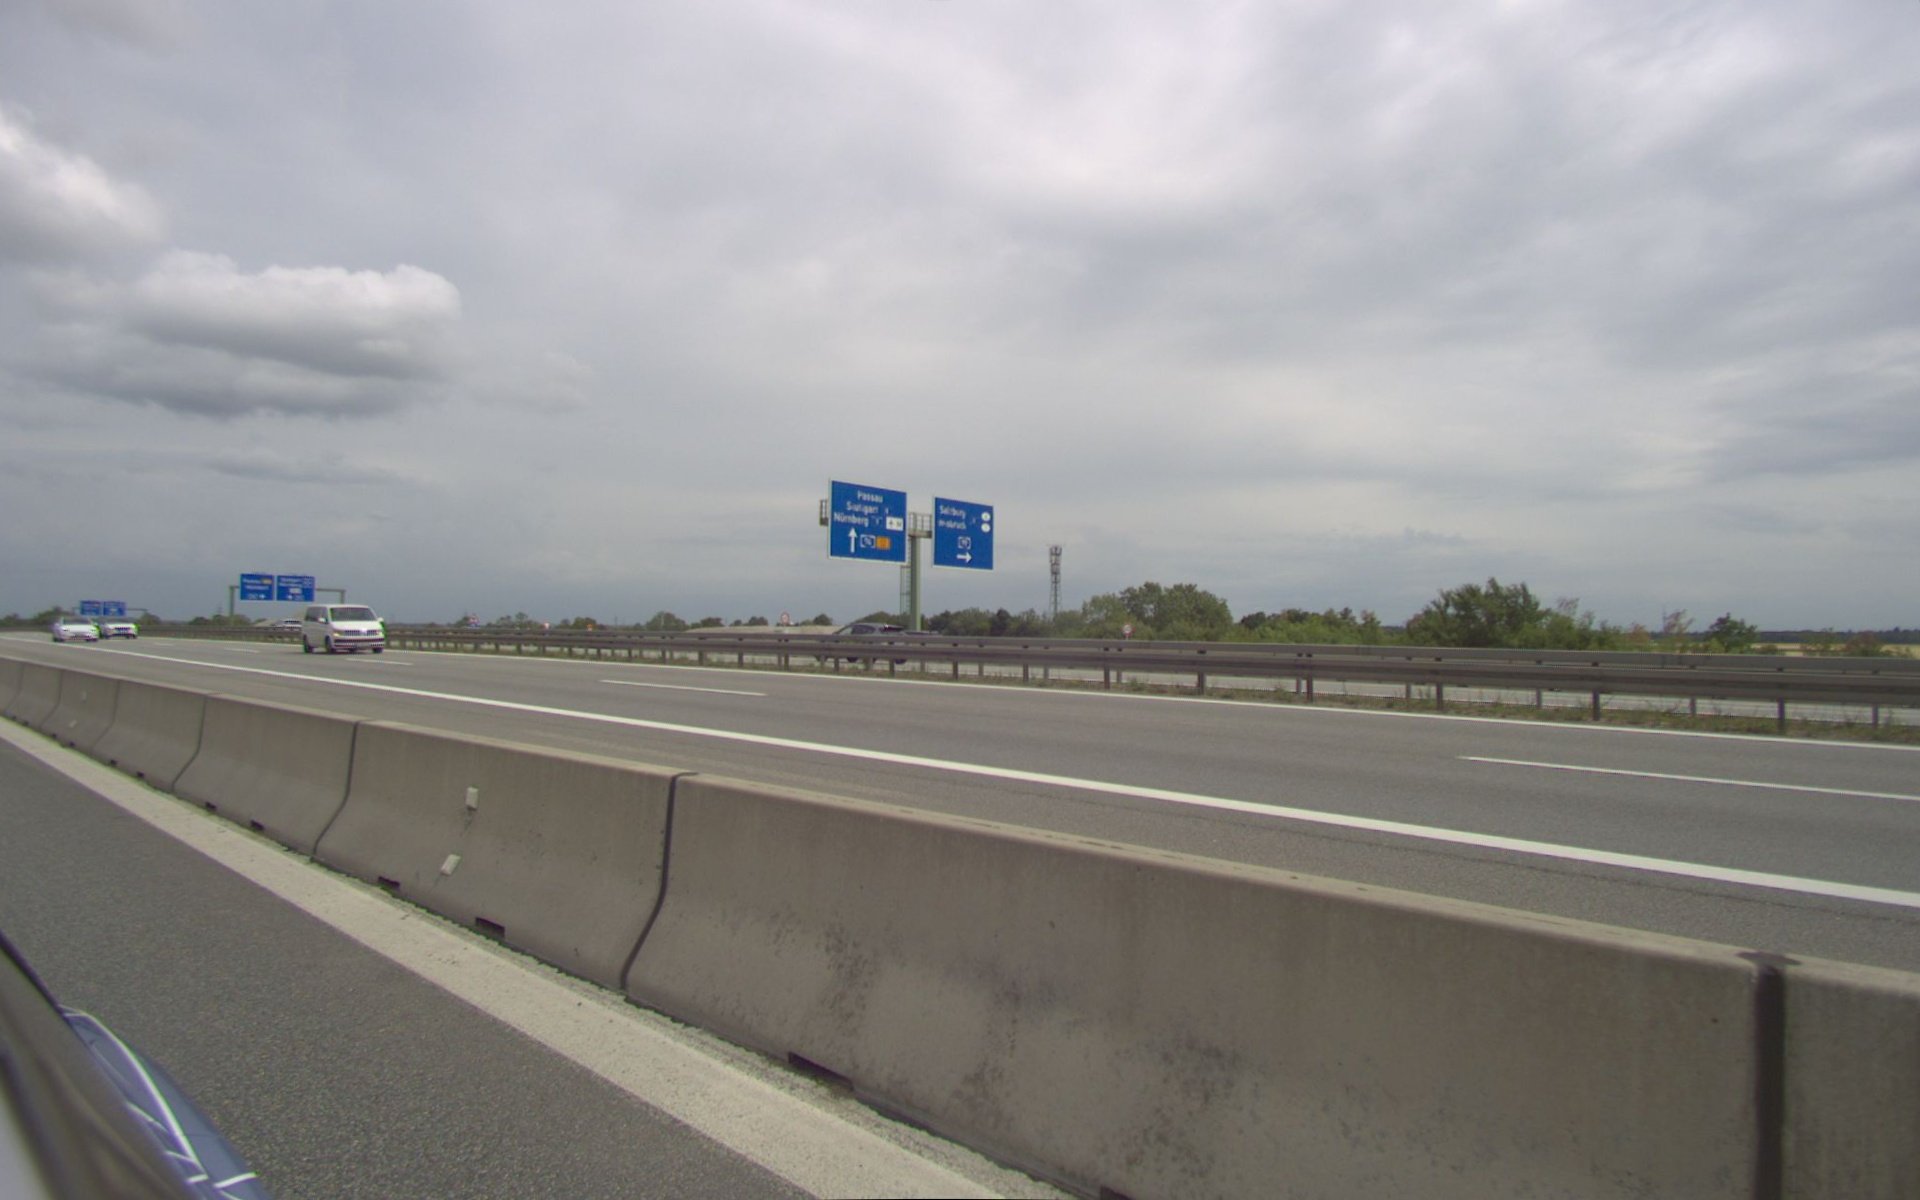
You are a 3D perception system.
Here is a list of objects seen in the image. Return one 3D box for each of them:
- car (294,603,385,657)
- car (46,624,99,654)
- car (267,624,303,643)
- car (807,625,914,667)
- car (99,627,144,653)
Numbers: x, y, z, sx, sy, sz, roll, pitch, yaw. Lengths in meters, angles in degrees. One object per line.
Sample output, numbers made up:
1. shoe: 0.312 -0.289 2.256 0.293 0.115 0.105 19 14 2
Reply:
1. car: -24.607 1.190 40.086 4.466 2.029 1.972 -3 -2 43
2. car: -56.350 2.473 64.235 3.998 1.763 1.973 -2 -2 41
3. car: -61.078 3.009 91.529 4.516 1.635 1.725 -2 -2 43
4. car: -3.707 1.652 37.225 4.000 1.409 1.686 -1 -1 43
5. car: -61.994 2.959 74.824 3.998 1.896 1.973 -2 -2 41
